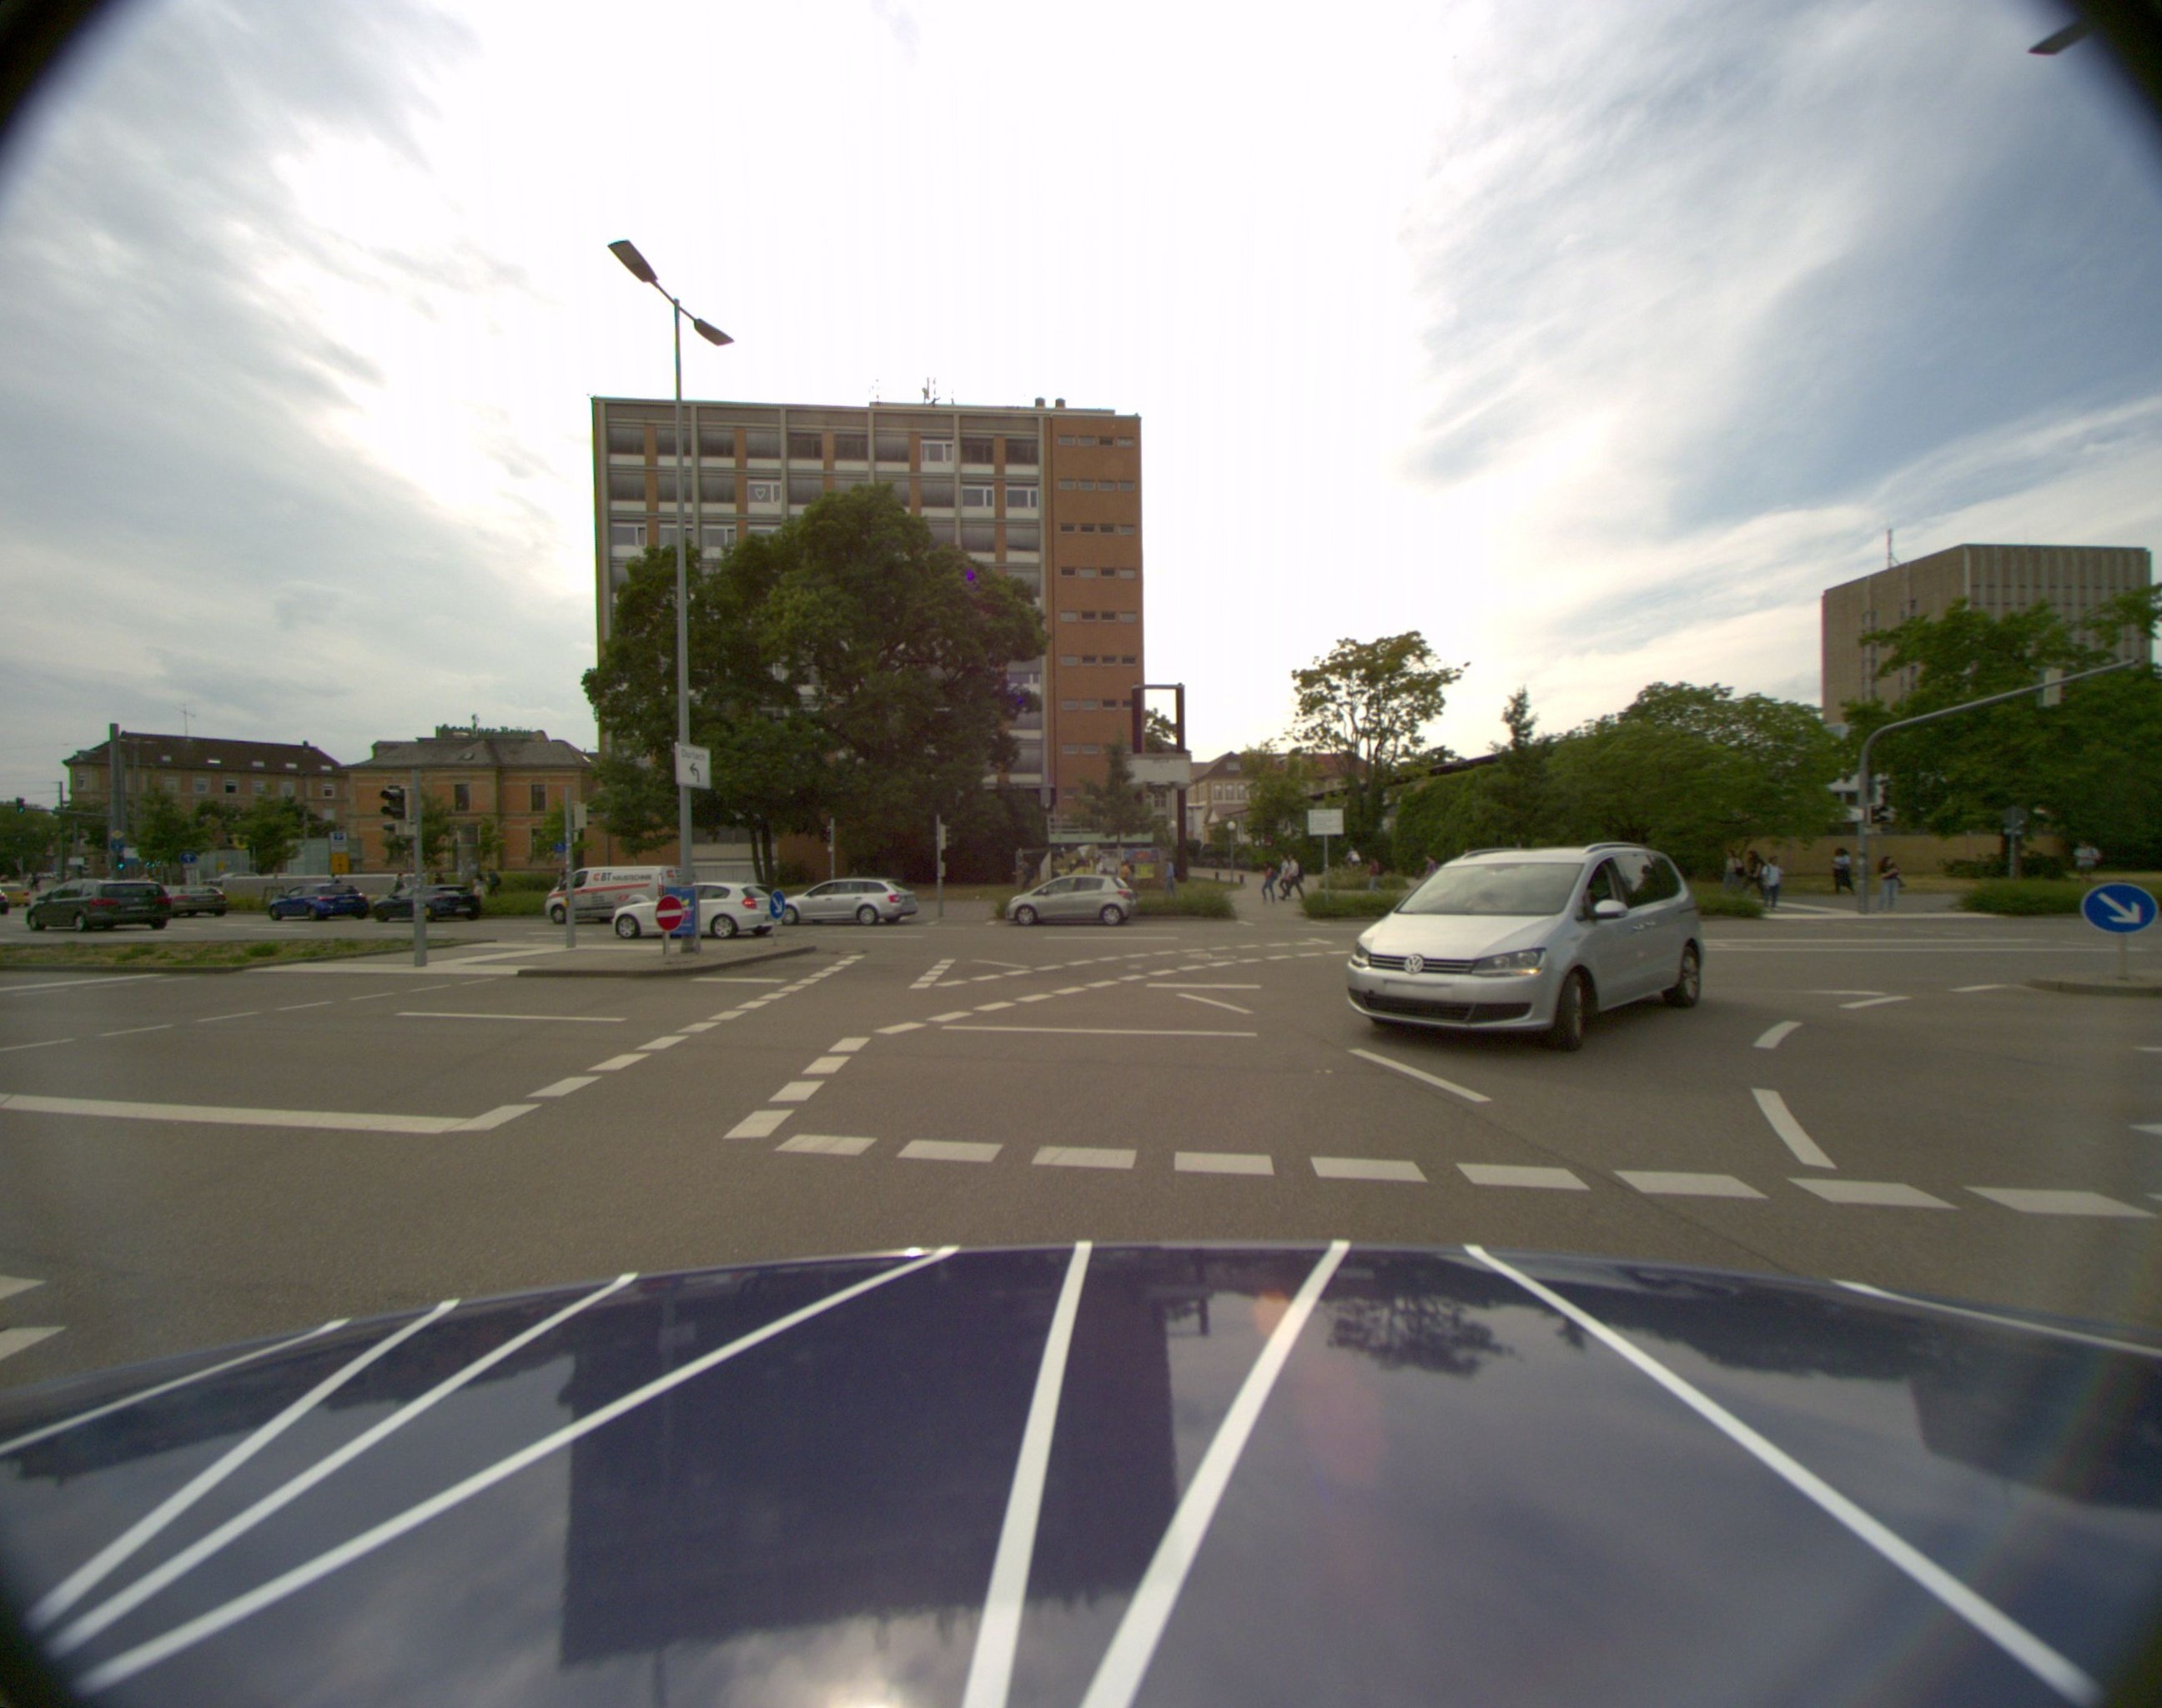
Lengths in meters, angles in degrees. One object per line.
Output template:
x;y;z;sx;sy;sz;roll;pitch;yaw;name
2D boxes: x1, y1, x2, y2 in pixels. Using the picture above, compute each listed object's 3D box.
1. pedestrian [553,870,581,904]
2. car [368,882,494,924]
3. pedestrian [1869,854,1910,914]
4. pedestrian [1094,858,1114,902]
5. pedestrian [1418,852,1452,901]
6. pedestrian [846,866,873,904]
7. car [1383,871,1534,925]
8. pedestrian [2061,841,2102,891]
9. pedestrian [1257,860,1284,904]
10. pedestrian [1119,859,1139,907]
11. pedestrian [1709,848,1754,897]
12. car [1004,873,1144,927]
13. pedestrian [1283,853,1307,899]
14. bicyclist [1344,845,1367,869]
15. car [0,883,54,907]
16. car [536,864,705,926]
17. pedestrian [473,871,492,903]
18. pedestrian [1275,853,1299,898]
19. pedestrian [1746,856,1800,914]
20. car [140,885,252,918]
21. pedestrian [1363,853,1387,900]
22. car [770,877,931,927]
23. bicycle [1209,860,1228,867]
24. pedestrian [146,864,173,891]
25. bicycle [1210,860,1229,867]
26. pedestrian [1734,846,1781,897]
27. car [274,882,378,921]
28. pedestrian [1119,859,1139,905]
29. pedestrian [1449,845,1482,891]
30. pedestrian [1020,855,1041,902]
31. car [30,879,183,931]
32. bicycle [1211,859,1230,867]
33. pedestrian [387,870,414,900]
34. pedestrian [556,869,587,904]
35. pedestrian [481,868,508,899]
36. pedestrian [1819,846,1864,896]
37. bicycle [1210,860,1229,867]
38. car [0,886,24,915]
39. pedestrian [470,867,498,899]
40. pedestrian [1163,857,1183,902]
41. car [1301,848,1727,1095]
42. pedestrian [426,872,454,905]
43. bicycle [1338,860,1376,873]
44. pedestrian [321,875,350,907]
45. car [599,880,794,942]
-24.757;1.585;36.591;0.810;1.565;0.781;-1;2;26;pedestrian
-24.945;1.880;29.186;3.994;1.523;1.867;-2;-2;18;car
23.211;0.860;21.822;0.587;1.700;0.481;-1;-1;5;pedestrian
0.921;1.017;30.071;0.707;1.701;0.640;-1;0;3;pedestrian
12.675;0.816;27.230;0.799;1.700;0.840;-1;-1;3;pedestrian
-9.378;1.302;32.195;0.811;1.565;0.780;-1;2;3;pedestrian
10.555;1.225;21.456;3.452;1.406;1.673;-2;-2;8;car
34.485;0.390;26.191;0.695;1.687;0.544;-1;2;-3;pedestrian
6.921;1.014;27.828;0.799;1.534;0.839;-1;3;3;pedestrian
1.765;1.066;28.006;0.707;1.701;0.640;-1;1;3;pedestrian
23.001;0.655;26.884;0.800;1.700;0.839;-1;-1;-15;pedestrian
-0.159;1.354;22.596;3.869;1.480;1.673;-2;-2;11;car
8.017;0.820;28.521;0.707;1.700;0.640;-1;-1;3;pedestrian
15.351;0.183;42.475;1.010;1.269;0.841;-2;-2;31;bicyclist
-67.057;2.582;47.938;3.692;1.411;1.712;-2;-2;20;car
-15.837;1.413;26.175;5.195;1.947;1.828;-2;-2;14;car
-29.832;1.638;37.881;0.551;1.528;0.548;-2;2;-20;pedestrian
7.940;0.824;29.290;0.707;1.700;0.640;-1;-1;3;pedestrian
20.655;0.918;22.686;0.838;1.700;0.800;-1;-1;5;pedestrian
-40.044;2.140;34.396;3.692;1.411;2.143;-2;-2;20;car
10.970;0.836;28.375;0.633;1.700;0.674;-1;-1;3;pedestrian
-7.263;1.499;24.046;4.521;1.465;1.827;-2;-2;11;car
13.925;0.966;76.975;1.842;0.689;0.652;-2;-2;8;bicycle
-55.241;1.382;45.558;0.810;1.565;0.781;-1;2;26;pedestrian
13.892;0.953;76.076;1.842;0.689;0.652;-2;-2;8;bicycle
23.128;0.615;25.995;0.800;1.700;0.839;-1;-1;-15;pedestrian
-30.819;1.932;31.027;3.626;1.498;1.674;-2;-2;21;car
1.823;1.047;28.725;0.707;1.700;0.640;-1;-1;3;pedestrian
14.577;0.552;28.830;0.799;1.700;0.840;-1;-1;3;pedestrian
-2.040;0.982;30.596;0.707;1.842;0.640;-1;1;3;pedestrian
-33.082;1.739;25.798;4.676;1.640;1.763;-2;-2;19;car
13.656;0.908;74.530;1.842;0.689;0.652;-2;-2;8;bicycle
-37.087;1.701;41.424;0.810;1.565;0.781;-1;2;26;pedestrian
-23.353;1.496;34.840;0.810;1.565;0.781;-1;2;22;pedestrian
-30.226;1.519;39.167;0.810;1.565;0.781;-1;2;26;pedestrian
26.397;0.600;26.378;0.799;1.700;0.714;-1;-1;-3;pedestrian
14.214;1.007;77.966;1.842;0.689;0.652;-2;-2;8;bicycle
-55.288;2.378;38.245;3.990;1.411;1.719;-2;-2;25;car
-29.738;1.429;37.862;0.810;1.565;0.781;-1;2;26;pedestrian
3.561;0.989;29.550;0.707;1.701;0.640;-1;2;3;pedestrian
4.365;0.860;7.377;4.537;1.723;1.821;0;-2;-36;car
-32.469;1.739;38.493;0.810;1.565;0.781;-1;2;26;pedestrian
15.402;0.715;42.440;1.840;0.689;0.845;-2;-2;29;bicycle
-38.181;1.872;38.907;0.810;1.565;0.781;-1;2;26;pedestrian
-9.775;1.445;19.422;4.217;1.449;1.762;-2;-2;10;car
